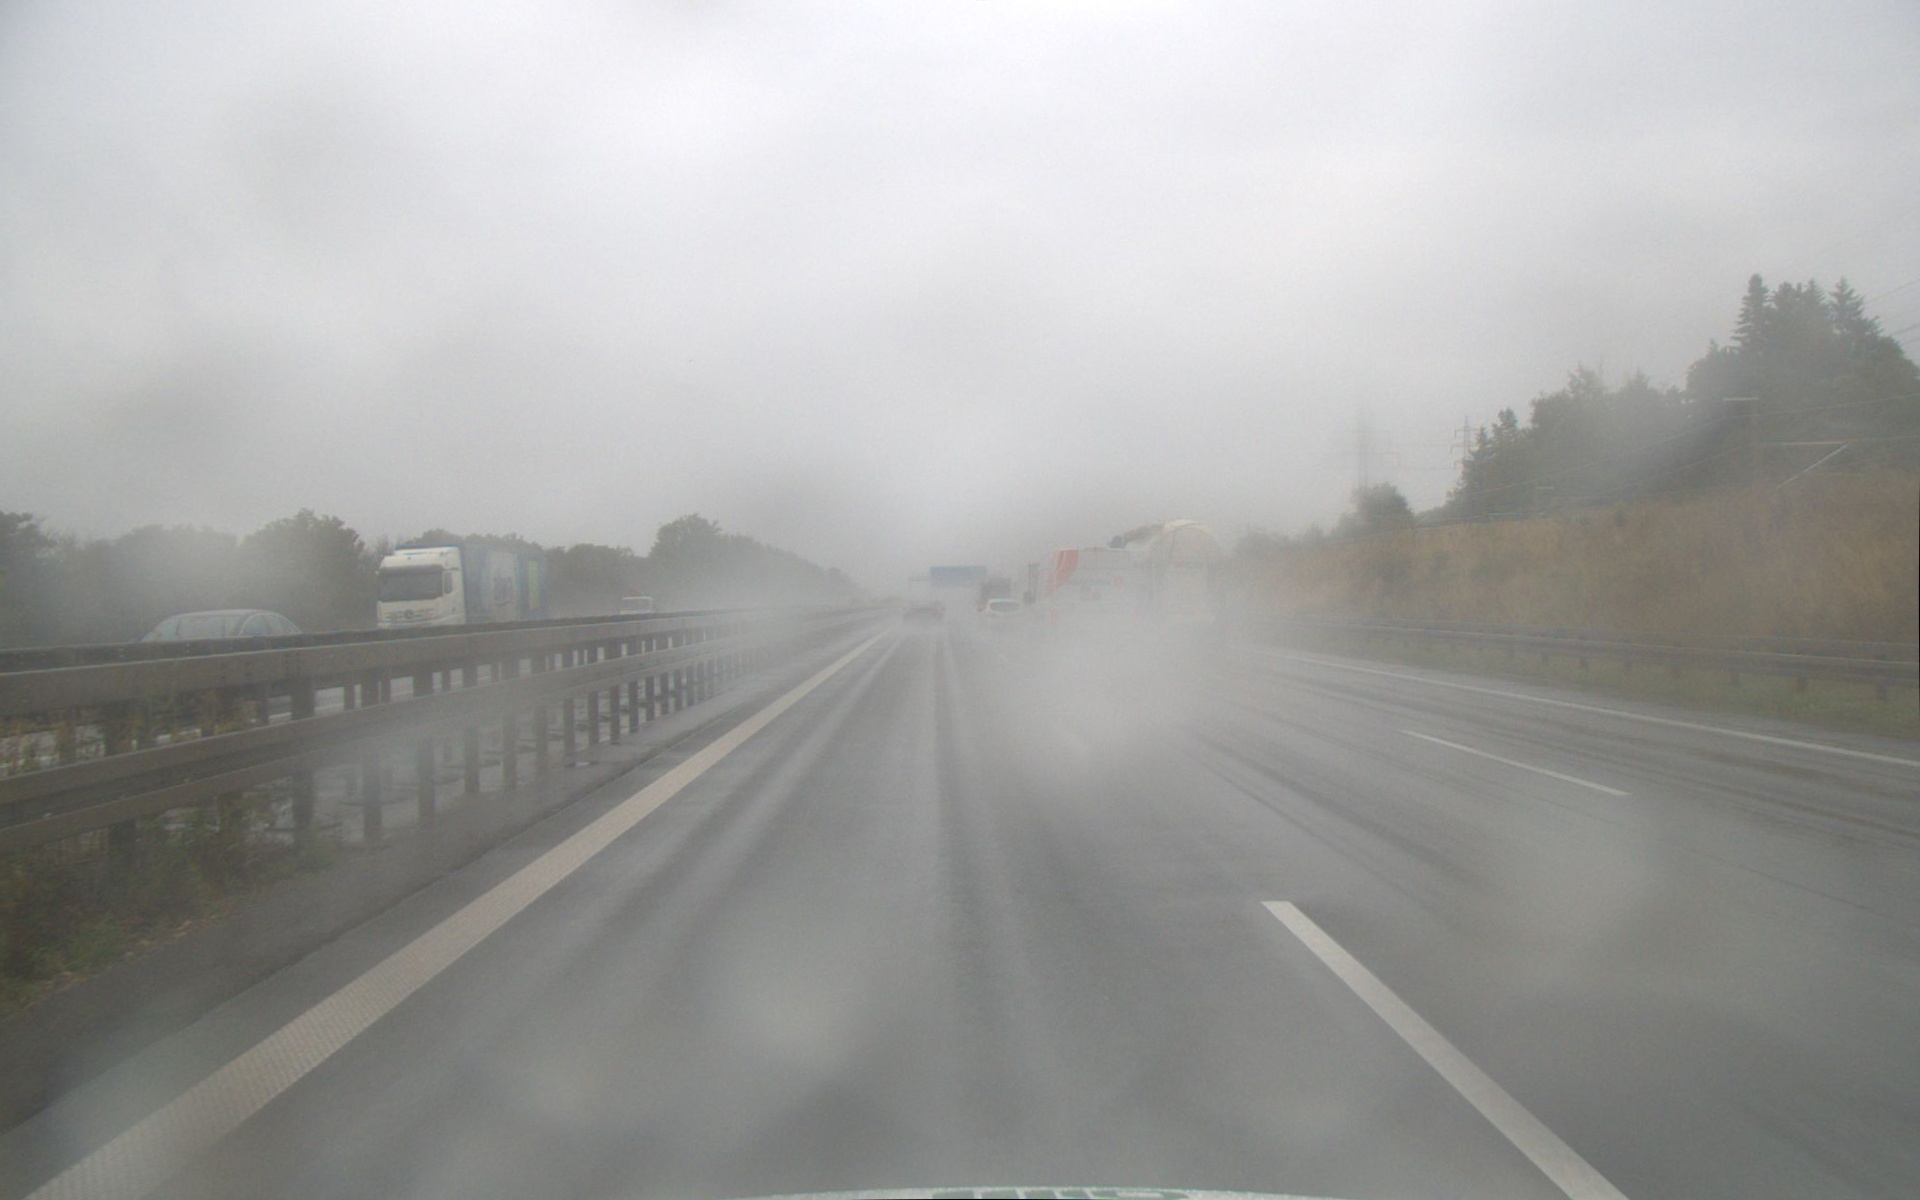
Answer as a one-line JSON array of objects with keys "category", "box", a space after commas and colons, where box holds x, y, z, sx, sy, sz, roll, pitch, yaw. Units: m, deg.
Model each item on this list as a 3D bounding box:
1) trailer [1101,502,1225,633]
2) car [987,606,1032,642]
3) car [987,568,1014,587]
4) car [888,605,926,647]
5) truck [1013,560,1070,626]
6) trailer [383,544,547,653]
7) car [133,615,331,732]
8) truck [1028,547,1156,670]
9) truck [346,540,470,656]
[{"category": "trailer", "box": [6.627, -0.975, 55.704, 2.447, 3.950, 11.062, 1, 0, -2]}, {"category": "car", "box": [1.950, 0.936, 66.449, 1.573, 1.361, 3.847, 1, 0, -2]}, {"category": "car", "box": [4.571, -2.582, 187.780, 2.732, 2.049, 4.991, 1, 0, -2]}, {"category": "car", "box": [-2.409, 1.179, 76.214, 1.667, 1.850, 3.861, 1, 0, -1]}, {"category": "truck", "box": [6.130, -0.366, 127.262, 2.979, 4.669, 16.342, 1, -1, -2]}, {"category": "trailer", "box": [-19.484, -0.051, 66.231, 2.580, 3.871, 13.581, 1, 0, -1]}, {"category": "car", "box": [-11.618, 1.122, 26.649, 1.643, 1.707, 3.576, 1, 0, -1]}, {"category": "truck", "box": [2.881, 0.188, 37.367, 2.370, 2.536, 5.559, 1, 0, -1]}, {"category": "truck", "box": [-19.390, -0.051, 58.380, 2.569, 3.872, 5.399, 1, 0, -1]}]
